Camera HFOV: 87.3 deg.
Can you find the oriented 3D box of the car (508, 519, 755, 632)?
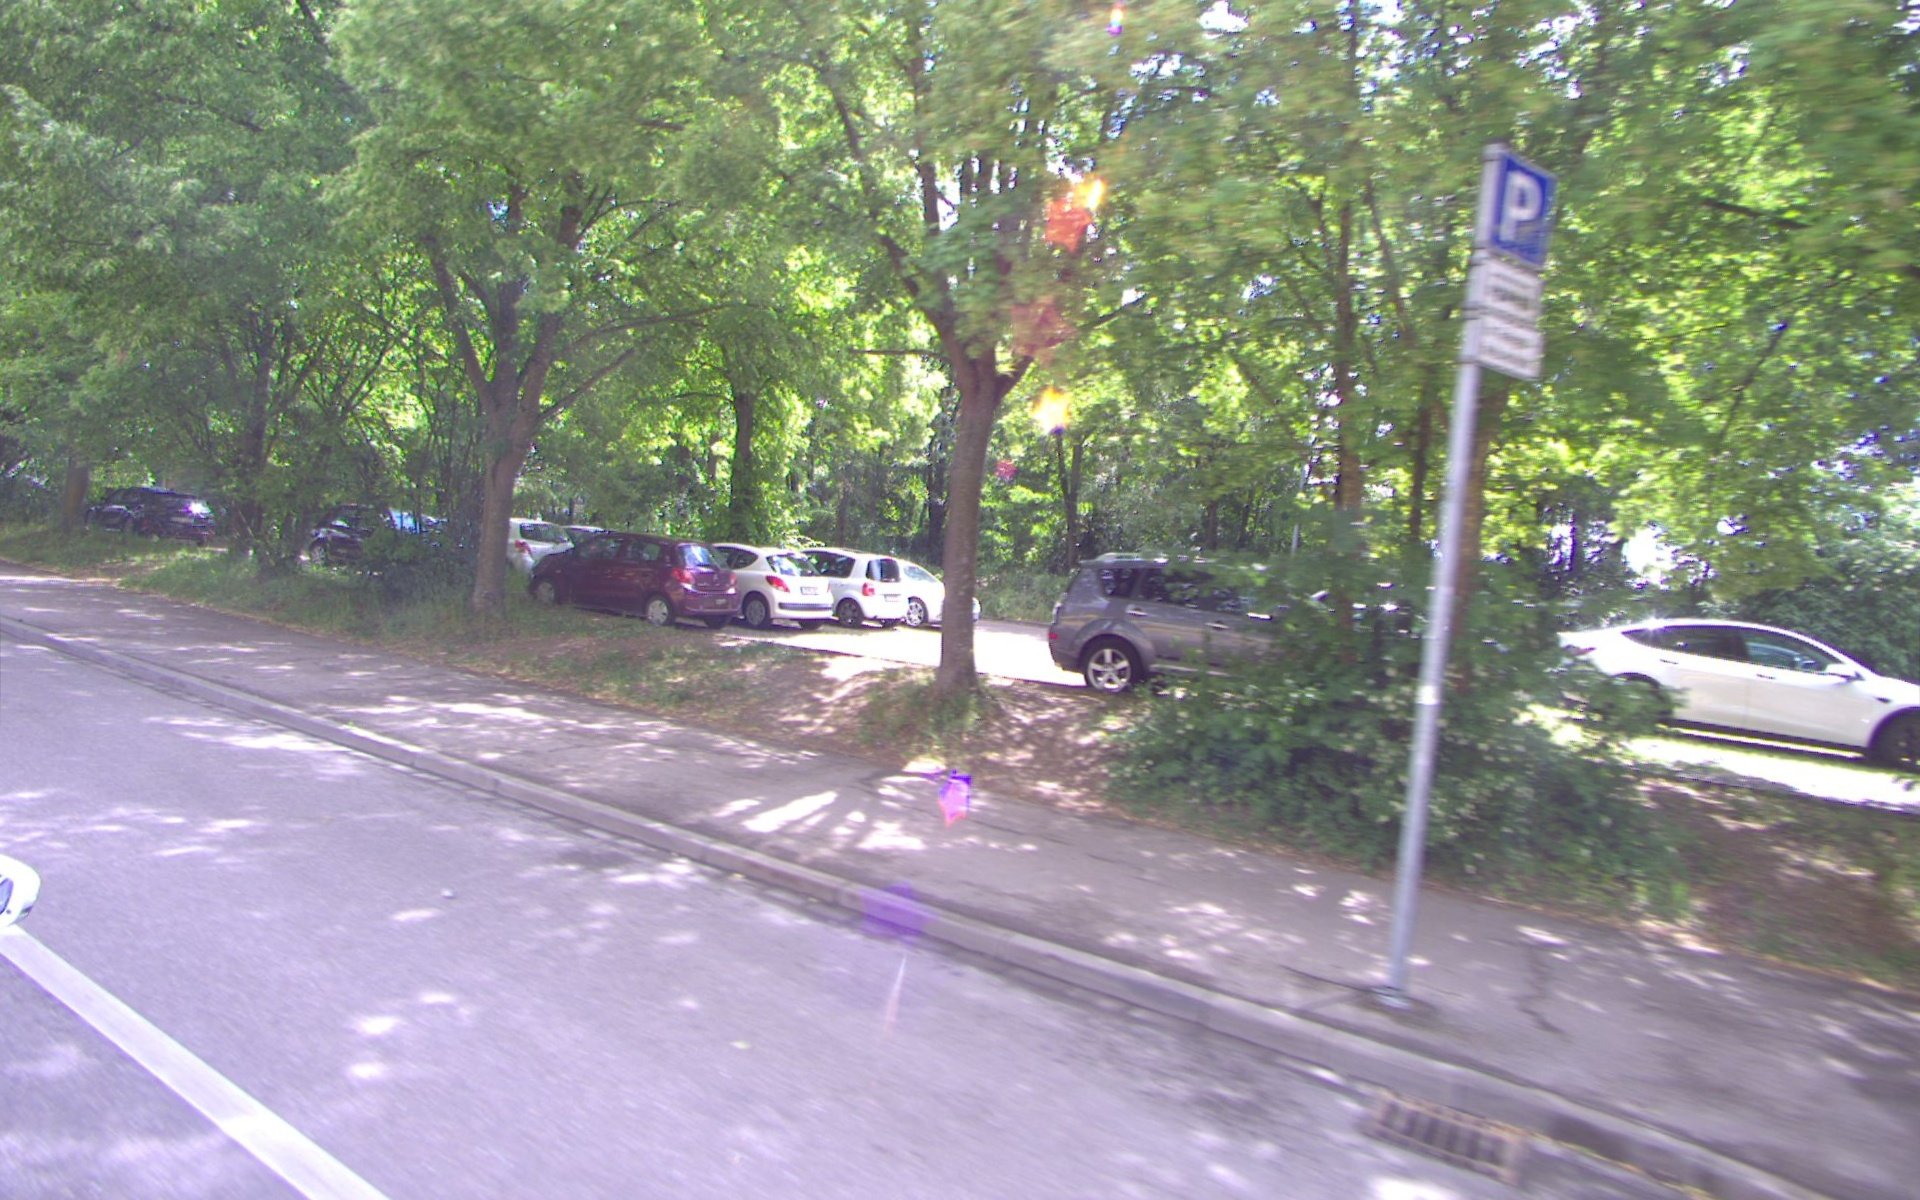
[{"bbox_3d":[-5.522,-0.410,16.896,3.749,1.431,1.612,7,1,24],"label":"car"}]

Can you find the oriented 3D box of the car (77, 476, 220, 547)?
[{"bbox_3d":[-21.754,-2.382,26.926,4.091,1.528,1.715,6,2,32],"label":"car"}]

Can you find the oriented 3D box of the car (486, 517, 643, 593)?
[{"bbox_3d":[-10.154,-1.160,25.733,3.922,1.588,1.608,6,3,31],"label":"car"}]

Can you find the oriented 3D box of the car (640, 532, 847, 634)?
[{"bbox_3d":[-4.096,-0.329,18.919,3.562,1.528,1.692,7,3,32],"label":"car"}]

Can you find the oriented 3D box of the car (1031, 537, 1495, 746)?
[{"bbox_3d":[3.379,0.401,11.550,4.645,1.682,1.850,7,-1,31],"label":"car"}]

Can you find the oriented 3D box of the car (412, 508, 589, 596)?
[{"bbox_3d":[-10.445,-1.102,22.802,3.922,1.587,1.636,6,1,31],"label":"car"}]

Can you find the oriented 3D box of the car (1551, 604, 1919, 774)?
[{"bbox_3d":[10.369,1.090,13.135,4.359,1.576,1.469,8,4,33],"label":"car"}]

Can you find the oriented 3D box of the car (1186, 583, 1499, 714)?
[{"bbox_3d":[5.950,0.683,15.851,4.280,1.461,1.613,7,2,31],"label":"car"}]

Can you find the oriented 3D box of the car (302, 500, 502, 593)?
[{"bbox_3d":[-11.507,-1.119,20.695,3.922,1.483,1.799,6,1,31],"label":"car"}]

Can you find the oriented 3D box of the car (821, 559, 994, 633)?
[{"bbox_3d":[-1.241,-0.099,23.416,3.562,1.335,1.786,7,2,32],"label":"car"}]

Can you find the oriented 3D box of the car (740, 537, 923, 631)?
[{"bbox_3d":[-2.796,-0.351,21.709,3.562,1.636,1.692,7,3,32],"label":"car"}]
